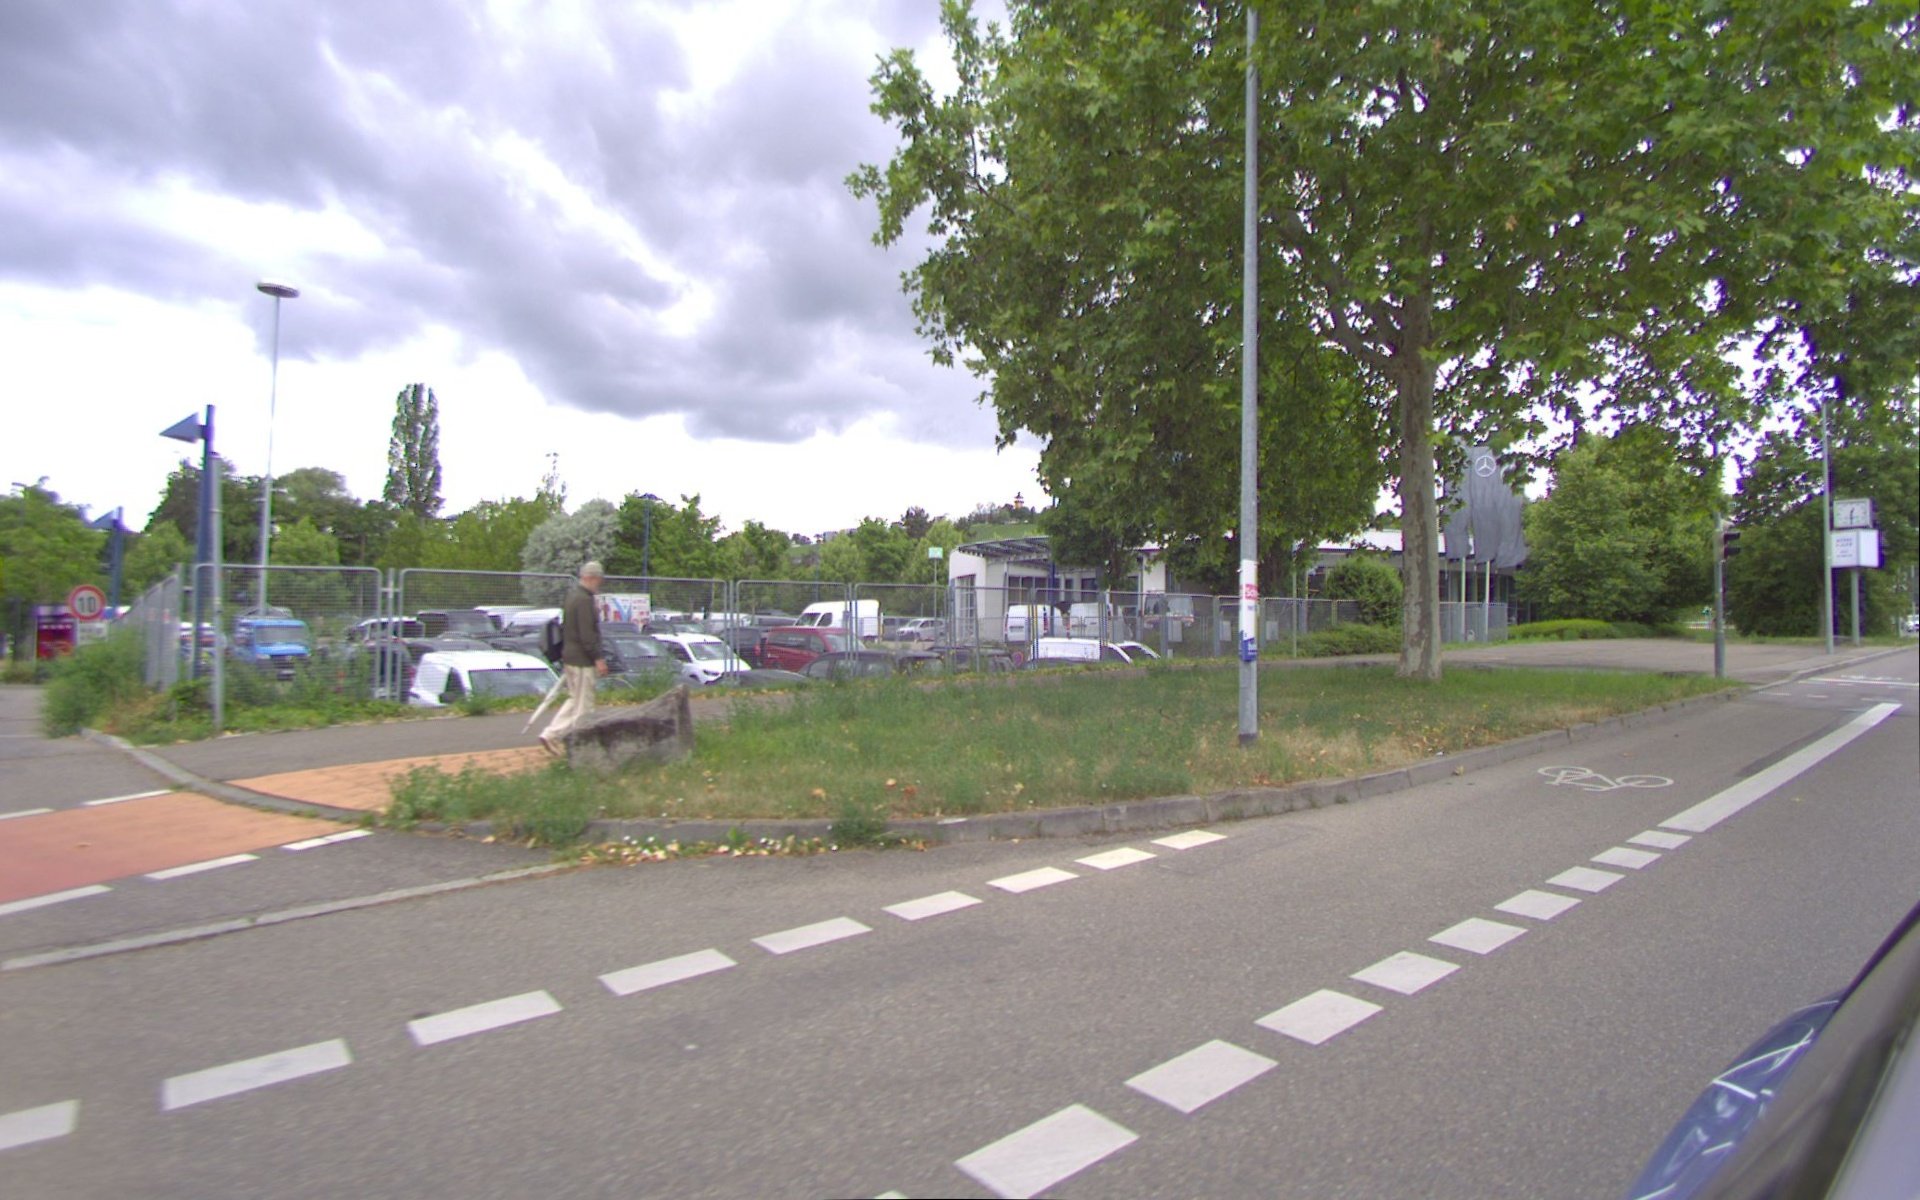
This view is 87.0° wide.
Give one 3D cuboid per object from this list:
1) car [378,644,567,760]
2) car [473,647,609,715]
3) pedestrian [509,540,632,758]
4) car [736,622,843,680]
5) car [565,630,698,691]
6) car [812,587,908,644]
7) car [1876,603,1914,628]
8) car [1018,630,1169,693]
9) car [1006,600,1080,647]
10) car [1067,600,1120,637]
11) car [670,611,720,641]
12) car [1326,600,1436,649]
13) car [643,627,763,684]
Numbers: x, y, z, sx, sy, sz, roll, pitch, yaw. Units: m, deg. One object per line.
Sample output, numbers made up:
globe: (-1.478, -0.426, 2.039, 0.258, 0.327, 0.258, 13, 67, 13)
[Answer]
car: (-8.348, 1.625, 17.207, 3.732, 1.639, 1.665, -1, -1, 43)
car: (-11.434, 2.125, 27.528, 3.985, 1.572, 1.969, -1, -1, 43)
pedestrian: (-3.402, 0.415, 8.899, 0.844, 1.824, 0.750, 0, -1, -8)
car: (-6.159, 1.761, 36.271, 1.966, 1.906, 3.991, 1, -1, -42)
car: (-9.445, 1.662, 29.009, 3.985, 1.572, 1.969, -1, -1, 43)
car: (-5.027, 0.766, 51.366, 1.992, 2.356, 4.361, -14, -7, 42)
car: (102.842, 1.729, 111.424, 2.213, 2.693, 5.883, -3, -3, 35)
car: (3.834, 1.734, 29.416, 3.985, 1.639, 1.969, -1, -1, 43)
car: (3.356, 0.928, 40.495, 1.613, 1.779, 3.557, -1, -1, 30)
car: (5.233, 0.721, 39.434, 1.603, 1.367, 3.579, 0, -1, 15)
car: (-18.214, 1.810, 69.571, 1.963, 2.040, 3.996, 1, -3, -37)
car: (17.974, 1.045, 43.413, 3.933, 2.051, 1.995, 0, -1, 9)
car: (-7.952, 1.659, 31.172, 1.966, 1.572, 3.991, 1, -1, -42)
